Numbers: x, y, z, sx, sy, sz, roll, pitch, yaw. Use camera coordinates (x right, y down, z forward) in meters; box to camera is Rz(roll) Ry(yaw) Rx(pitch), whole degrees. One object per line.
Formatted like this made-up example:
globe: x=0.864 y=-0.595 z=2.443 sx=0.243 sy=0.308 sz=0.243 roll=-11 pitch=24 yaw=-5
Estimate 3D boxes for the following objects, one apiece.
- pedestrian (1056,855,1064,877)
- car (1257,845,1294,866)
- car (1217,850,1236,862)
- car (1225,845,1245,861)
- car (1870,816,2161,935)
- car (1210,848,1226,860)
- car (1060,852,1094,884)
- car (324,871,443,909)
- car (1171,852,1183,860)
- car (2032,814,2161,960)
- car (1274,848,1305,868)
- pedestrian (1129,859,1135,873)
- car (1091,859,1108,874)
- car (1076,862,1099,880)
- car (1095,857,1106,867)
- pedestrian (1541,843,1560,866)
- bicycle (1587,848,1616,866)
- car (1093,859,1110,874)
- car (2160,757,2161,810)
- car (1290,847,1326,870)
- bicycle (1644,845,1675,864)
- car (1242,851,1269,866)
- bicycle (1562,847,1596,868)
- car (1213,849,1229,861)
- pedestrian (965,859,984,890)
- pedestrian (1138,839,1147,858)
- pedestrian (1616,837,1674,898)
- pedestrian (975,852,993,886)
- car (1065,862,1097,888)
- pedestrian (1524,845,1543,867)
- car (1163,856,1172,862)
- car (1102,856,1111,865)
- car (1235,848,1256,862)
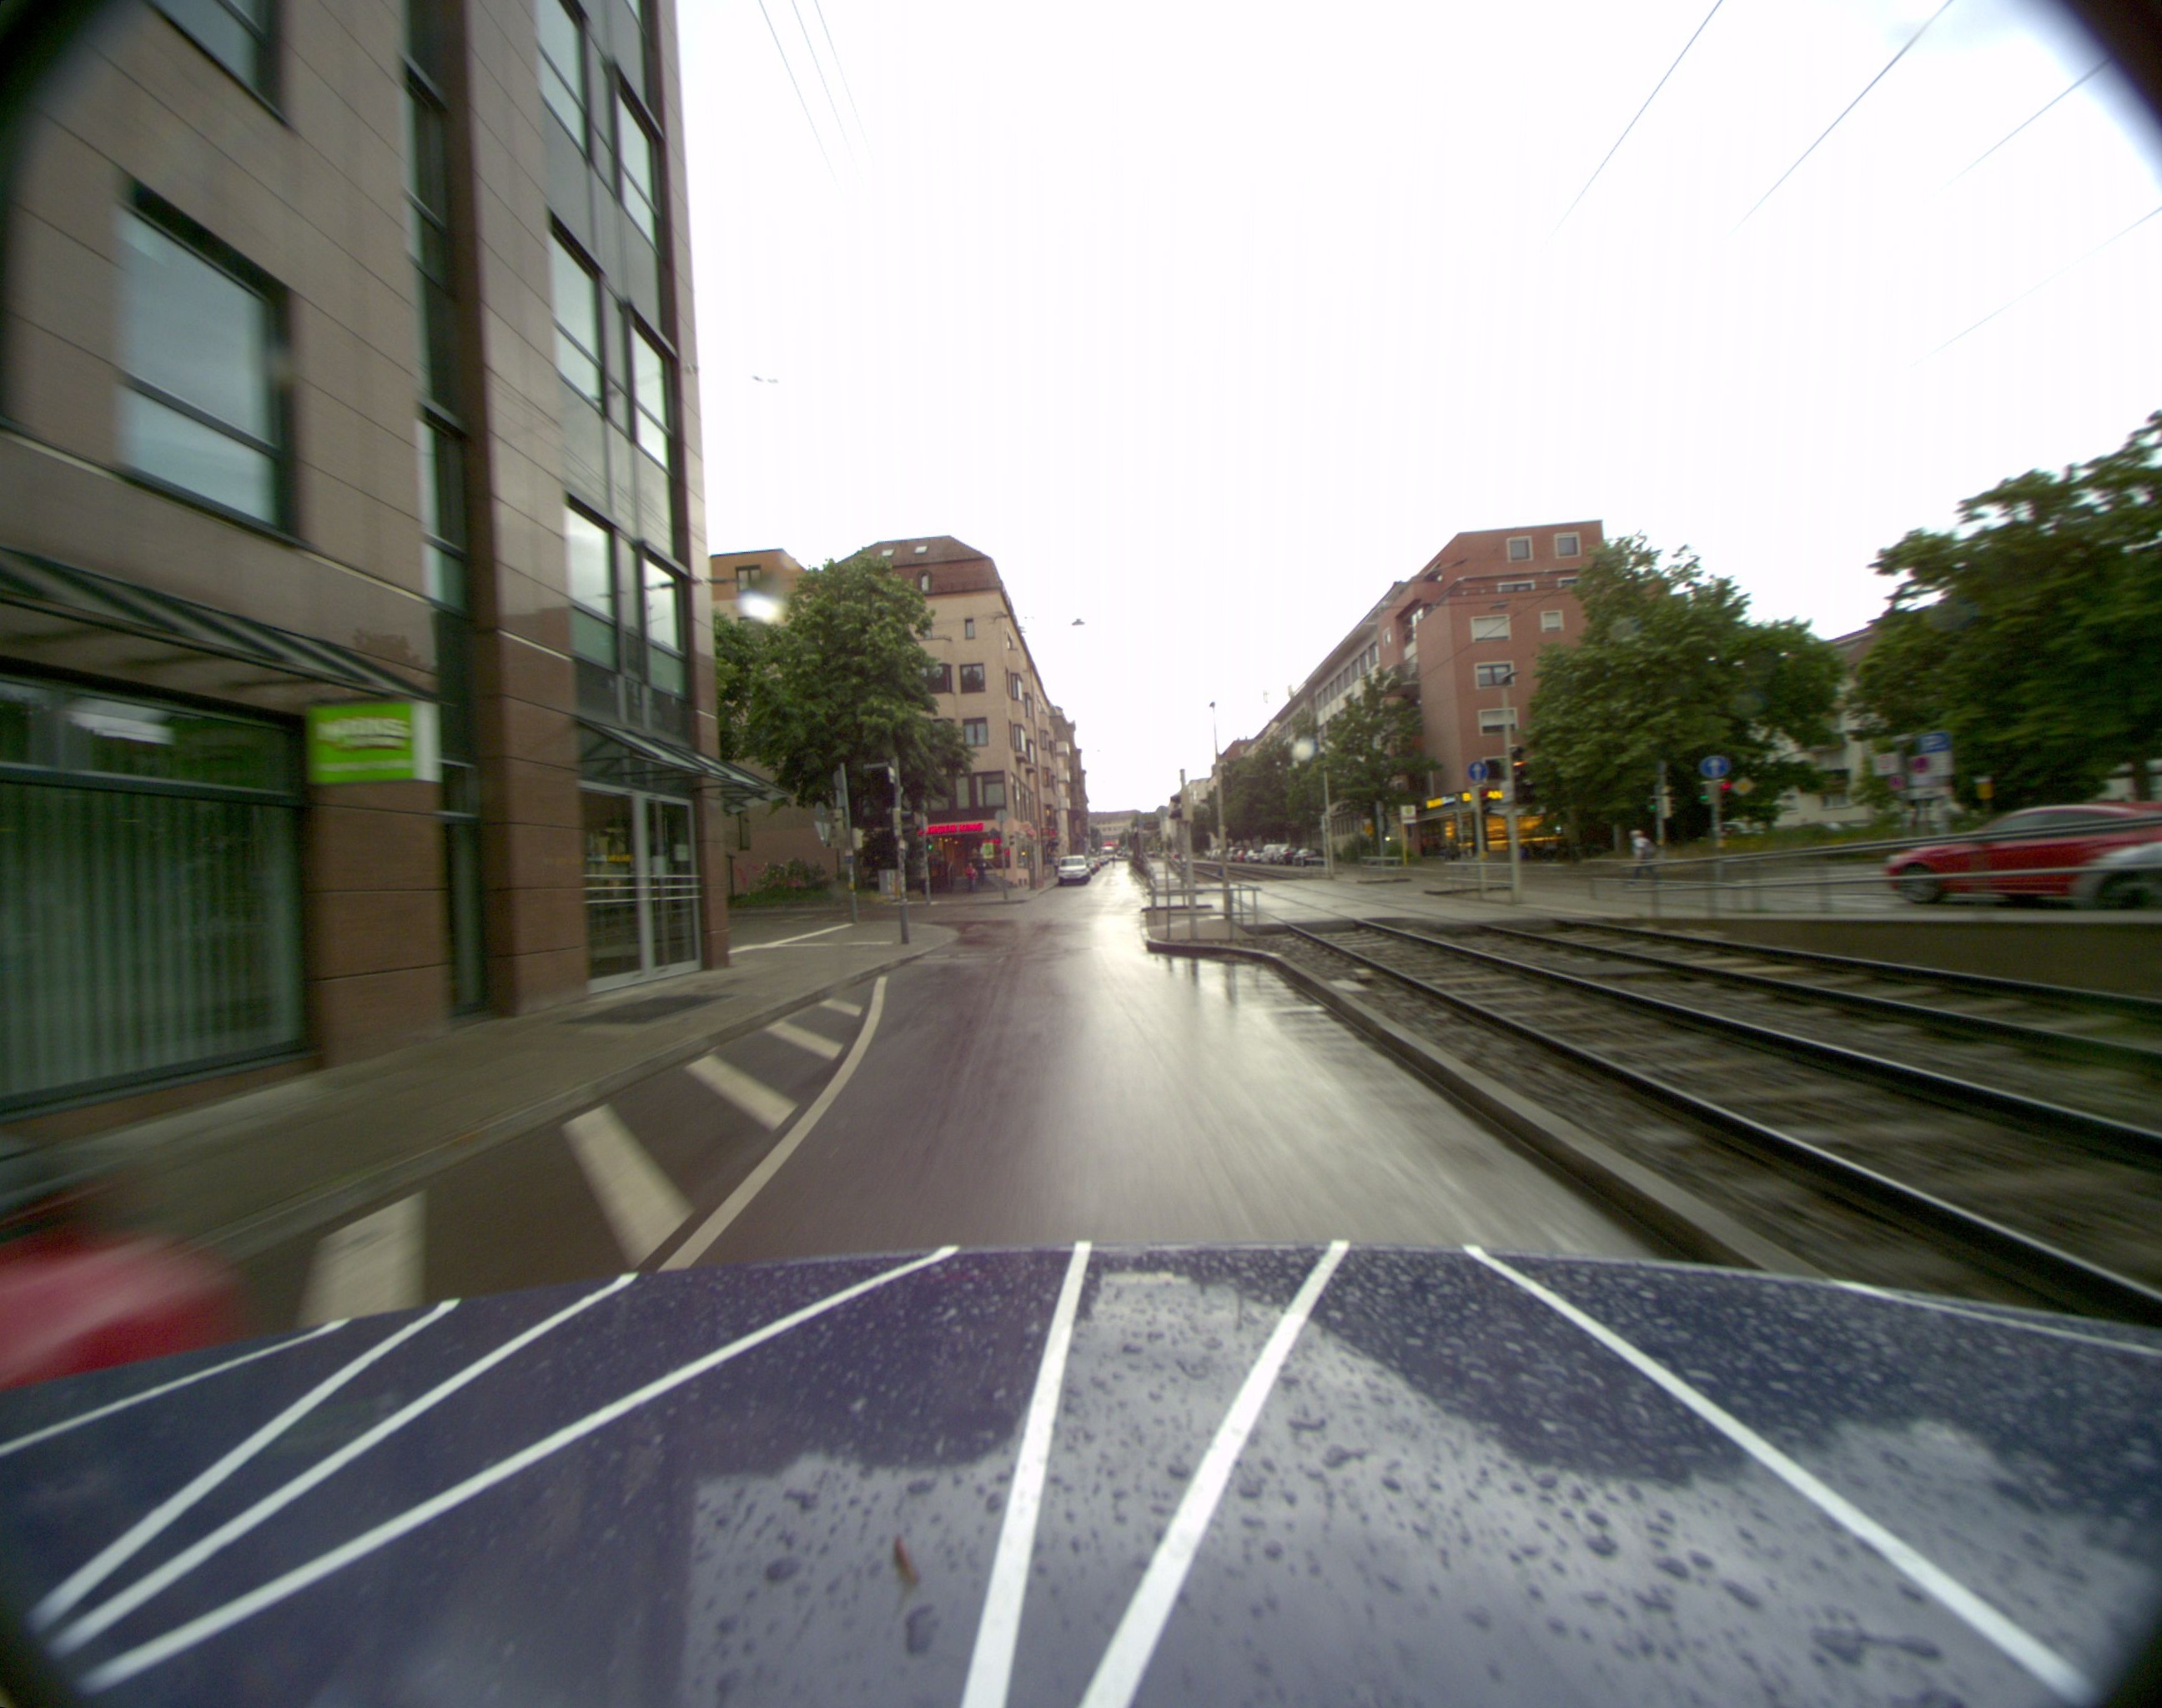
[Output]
pedestrian: x=-1.852 y=1.029 z=66.227 sx=0.530 sy=1.848 sz=0.556 roll=-3 pitch=1 yaw=-5
car: x=18.295 y=0.130 z=71.636 sx=1.912 sy=1.834 sz=5.256 roll=-3 pitch=1 yaw=-1
car: x=19.153 y=0.265 z=100.053 sx=1.642 sy=1.432 sz=4.730 roll=-3 pitch=1 yaw=2
car: x=19.154 y=-0.111 z=94.638 sx=1.678 sy=1.806 sz=4.432 roll=-3 pitch=1 yaw=2
car: x=15.745 y=0.265 z=12.129 sx=1.730 sy=1.602 sz=4.554 roll=-3 pitch=0 yaw=4
car: x=20.117 y=-0.015 z=111.781 sx=1.661 sy=1.575 sz=4.338 roll=-3 pitch=1 yaw=2
car: x=-0.185 y=0.822 z=47.903 sx=1.911 sy=1.796 sz=4.777 roll=-3 pitch=1 yaw=1
car: x=-31.661 y=1.585 z=34.656 sx=1.677 sy=1.453 sz=3.871 roll=-3 pitch=0 yaw=2
car: x=19.115 y=0.445 z=151.345 sx=1.696 sy=1.454 sz=4.530 roll=-3 pitch=1 yaw=0
car: x=12.605 y=0.329 z=6.895 sx=1.811 sy=1.569 sz=5.022 roll=-3 pitch=0 yaw=4
car: x=17.986 y=0.304 z=65.637 sx=1.642 sy=1.527 sz=4.371 roll=-3 pitch=1 yaw=3
pedestrian: x=6.732 y=1.562 z=100.236 sx=0.653 sy=1.752 sz=0.882 roll=-3 pitch=1 yaw=-1
car: x=2.158 y=1.436 z=87.720 sx=1.720 sy=1.454 sz=3.445 roll=-3 pitch=1 yaw=3
car: x=0.649 y=1.585 z=72.334 sx=1.911 sy=1.454 sz=4.245 roll=-3 pitch=1 yaw=2
car: x=2.981 y=1.244 z=115.161 sx=1.627 sy=1.343 sz=3.829 roll=-3 pitch=1 yaw=1
pedestrian: x=25.770 y=0.033 z=41.723 sx=0.679 sy=1.171 sz=0.607 roll=-3 pitch=1 yaw=-29
bicycle: x=25.392 y=0.137 z=37.086 sx=0.340 sy=0.811 sz=1.647 roll=-3 pitch=1 yaw=3
car: x=2.192 y=1.318 z=81.191 sx=1.649 sy=1.454 sz=3.414 roll=-3 pitch=1 yaw=3
car: x=52.912 y=-3.431 z=32.949 sx=2.420 sy=2.519 sz=7.101 roll=-3 pitch=0 yaw=5
car: x=17.686 y=0.340 z=59.392 sx=1.642 sy=1.614 sz=4.371 roll=-3 pitch=1 yaw=3
bicycle: x=28.116 y=-0.003 z=36.954 sx=0.340 sy=0.898 sz=1.647 roll=-3 pitch=1 yaw=6
car: x=18.531 y=0.470 z=80.885 sx=1.696 sy=1.454 sz=4.530 roll=-3 pitch=1 yaw=0
bicycle: x=24.372 y=0.158 z=37.244 sx=0.481 sy=0.953 sz=1.873 roll=-3 pitch=1 yaw=3
car: x=19.393 y=0.165 z=105.523 sx=1.642 sy=1.529 sz=4.023 roll=-3 pitch=1 yaw=3
pedestrian: x=-5.751 y=1.095 z=40.957 sx=0.723 sy=1.640 sz=0.627 roll=-2 pitch=1 yaw=44
pedestrian: x=5.100 y=-0.479 z=63.089 sx=0.585 sy=1.548 sz=0.701 roll=-3 pitch=1 yaw=1
pedestrian: x=16.684 y=0.386 z=22.497 sx=0.821 sy=1.687 sz=0.985 roll=-5 pitch=1 yaw=-5
pedestrian: x=-5.325 y=0.826 z=41.884 sx=0.665 sy=1.809 sz=0.597 roll=-2 pitch=1 yaw=44
car: x=0.022 y=1.444 z=53.908 sx=1.911 sy=1.606 sz=4.414 roll=-3 pitch=1 yaw=3
pedestrian: x=24.489 y=0.100 z=41.136 sx=0.677 sy=1.171 sz=0.608 roll=-3 pitch=1 yaw=8
car: x=20.047 y=1.208 z=176.587 sx=1.642 sy=1.330 sz=3.735 roll=-3 pitch=1 yaw=1
car: x=4.875 y=1.270 z=147.072 sx=1.588 sy=1.442 sz=3.978 roll=-3 pitch=1 yaw=2
car: x=19.257 y=0.132 z=88.863 sx=1.642 sy=1.530 sz=3.804 roll=-3 pitch=1 yaw=2
